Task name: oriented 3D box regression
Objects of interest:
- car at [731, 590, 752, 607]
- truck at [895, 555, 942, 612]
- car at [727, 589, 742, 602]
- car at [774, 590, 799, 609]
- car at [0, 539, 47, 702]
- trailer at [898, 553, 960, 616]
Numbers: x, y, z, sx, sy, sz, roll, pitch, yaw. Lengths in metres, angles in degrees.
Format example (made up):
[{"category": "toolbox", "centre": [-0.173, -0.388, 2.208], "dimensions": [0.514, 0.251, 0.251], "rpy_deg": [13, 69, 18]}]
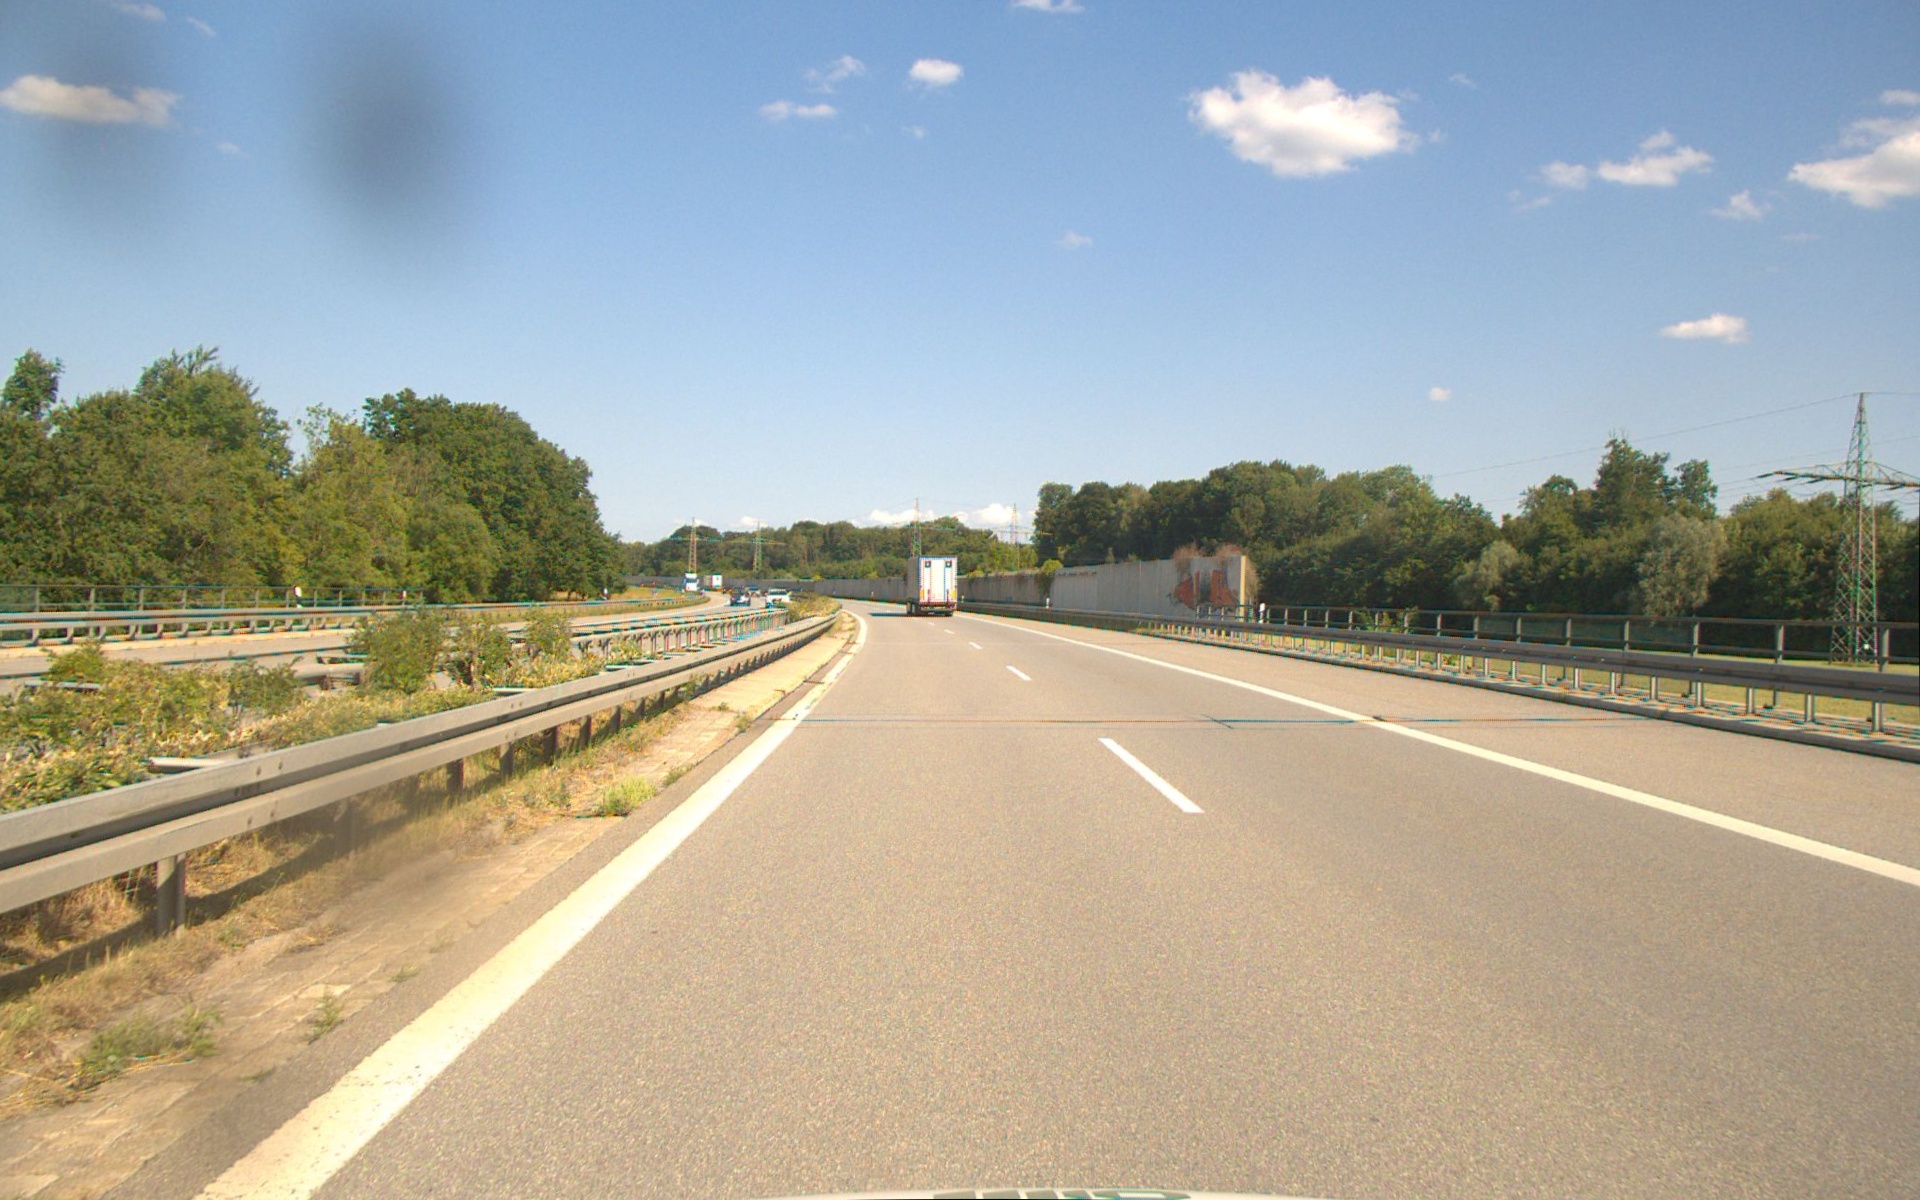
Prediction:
[{"category": "car", "centre": [-19.344, -0.141, 146.467], "dimensions": [1.740, 1.495, 4.499], "rpy_deg": [1, 0, -8]}, {"category": "truck", "centre": [-3.110, -1.190, 122.231], "dimensions": [2.777, 4.082, 6.575], "rpy_deg": [0, 0, -8]}, {"category": "car", "centre": [-29.097, -0.563, 213.649], "dimensions": [1.819, 1.663, 4.484], "rpy_deg": [0, 0, -9]}, {"category": "car", "centre": [-13.542, -0.058, 129.057], "dimensions": [1.785, 1.459, 4.646], "rpy_deg": [1, 0, -5]}, {"category": "car", "centre": [-11.025, 0.235, 15.625], "dimensions": [1.953, 1.708, 5.316], "rpy_deg": [-1, 0, -2]}, {"category": "trailer", "centre": [-2.278, -1.050, 115.927], "dimensions": [2.830, 4.137, 12.397], "rpy_deg": [0, 0, -8]}]
